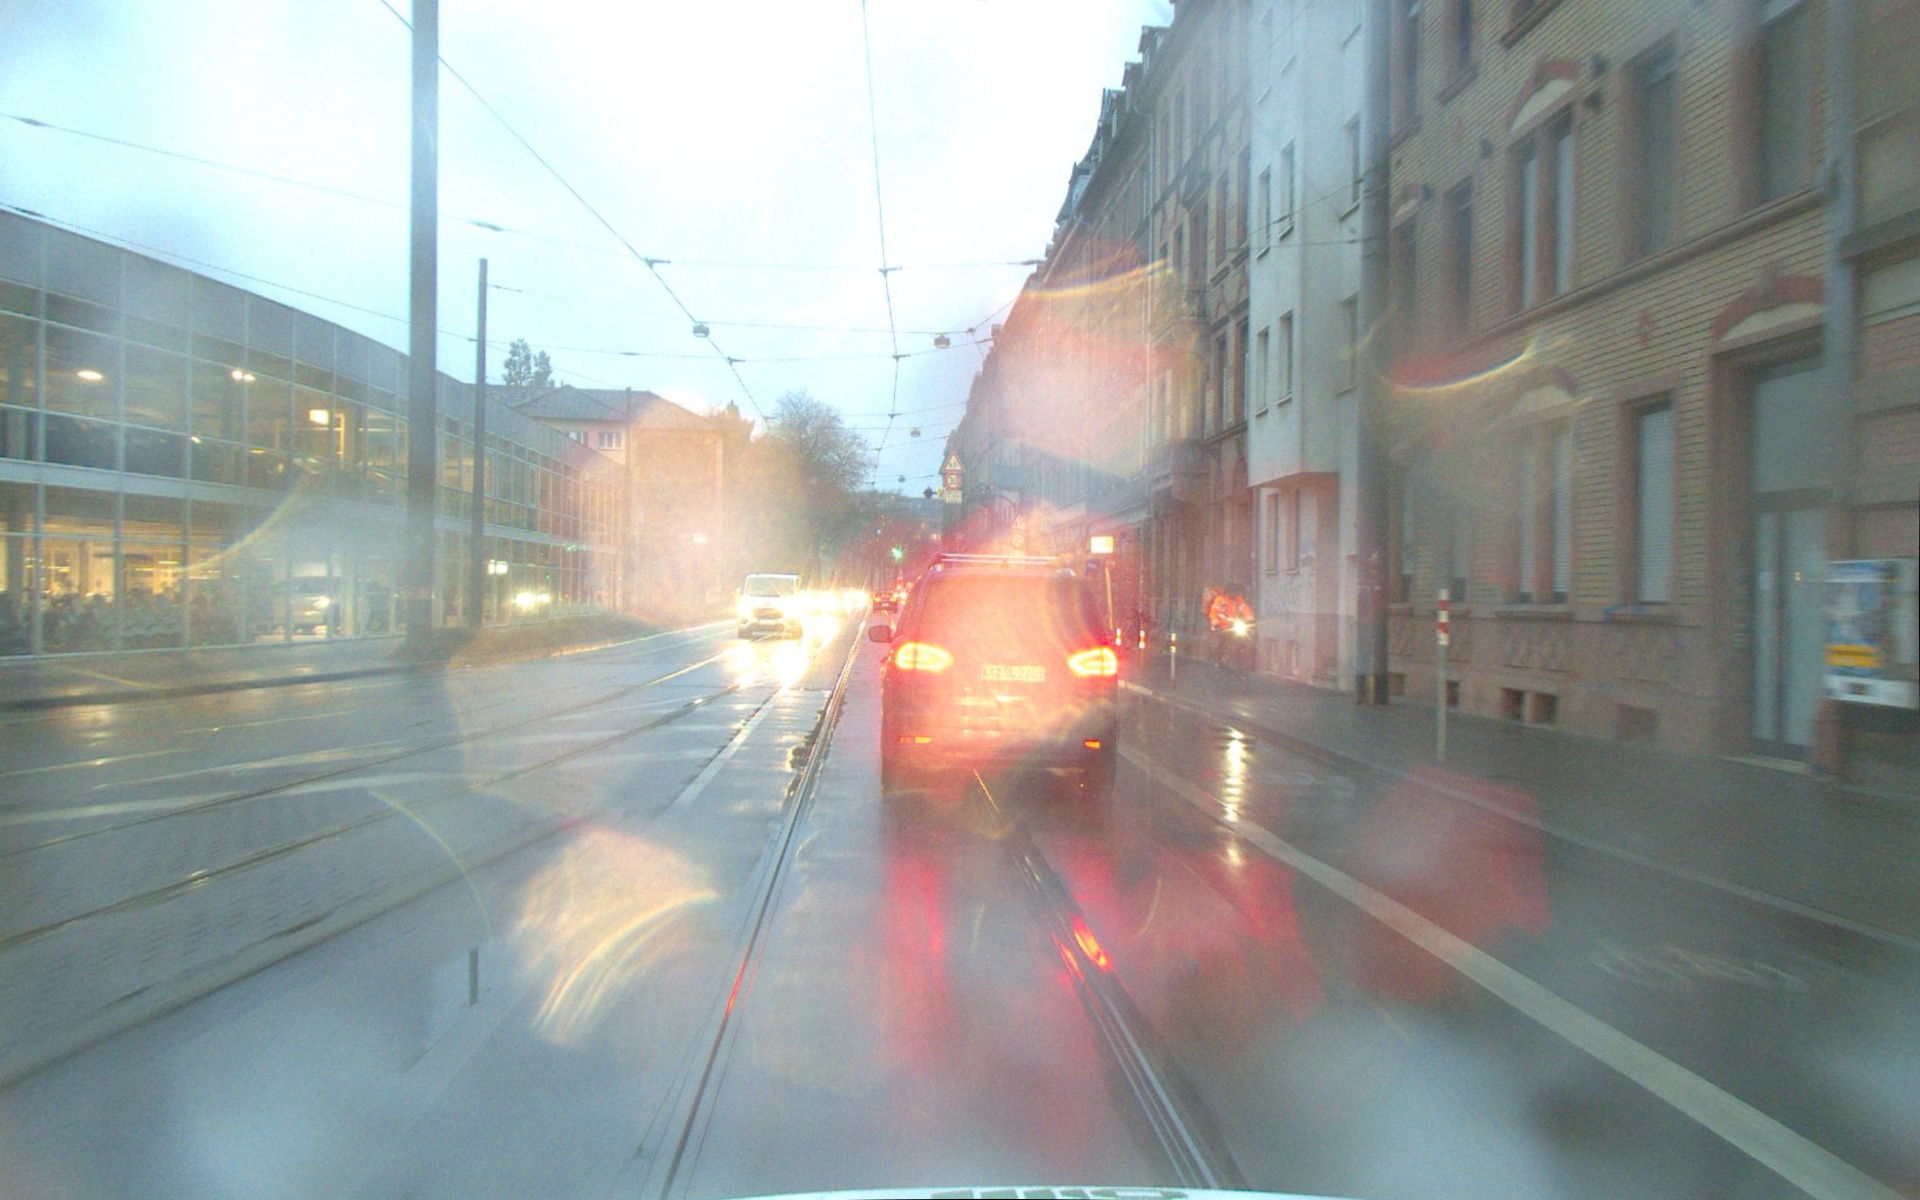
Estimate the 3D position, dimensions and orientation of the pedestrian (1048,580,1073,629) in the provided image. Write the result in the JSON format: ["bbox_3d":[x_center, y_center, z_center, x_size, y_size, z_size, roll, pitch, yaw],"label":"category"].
[{"bbox_3d":[3.380,0.162,55.524,0.770,1.625,0.741,0,0,-2],"label":"pedestrian"}]

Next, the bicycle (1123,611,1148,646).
[{"bbox_3d":[4.770,0.762,45.014,0.389,0.927,1.865,0,0,-3],"label":"bicycle"}]

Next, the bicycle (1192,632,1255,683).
[{"bbox_3d":[4.303,0.936,27.136,0.596,0.774,1.859,0,0,-5],"label":"bicycle"}]

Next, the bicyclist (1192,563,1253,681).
[{"bbox_3d":[4.307,0.356,27.191,0.730,1.913,1.110,0,0,-5],"label":"bicyclist"}]

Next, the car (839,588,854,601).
[{"bbox_3d":[-14.935,-0.728,217.614,1.838,1.739,4.757,0,0,-4],"label":"car"}]

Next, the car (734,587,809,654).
[{"bbox_3d":[-6.078,0.640,53.802,1.953,2.049,4.683,1,0,-2],"label":"car"}]

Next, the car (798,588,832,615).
[{"bbox_3d":[-8.968,0.062,102.312,1.804,1.606,4.441,0,0,-1],"label":"car"}]

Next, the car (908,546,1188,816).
[{"bbox_3d":[0.617,0.569,13.643,1.953,1.874,4.000,1,0,0],"label":"car"}]
